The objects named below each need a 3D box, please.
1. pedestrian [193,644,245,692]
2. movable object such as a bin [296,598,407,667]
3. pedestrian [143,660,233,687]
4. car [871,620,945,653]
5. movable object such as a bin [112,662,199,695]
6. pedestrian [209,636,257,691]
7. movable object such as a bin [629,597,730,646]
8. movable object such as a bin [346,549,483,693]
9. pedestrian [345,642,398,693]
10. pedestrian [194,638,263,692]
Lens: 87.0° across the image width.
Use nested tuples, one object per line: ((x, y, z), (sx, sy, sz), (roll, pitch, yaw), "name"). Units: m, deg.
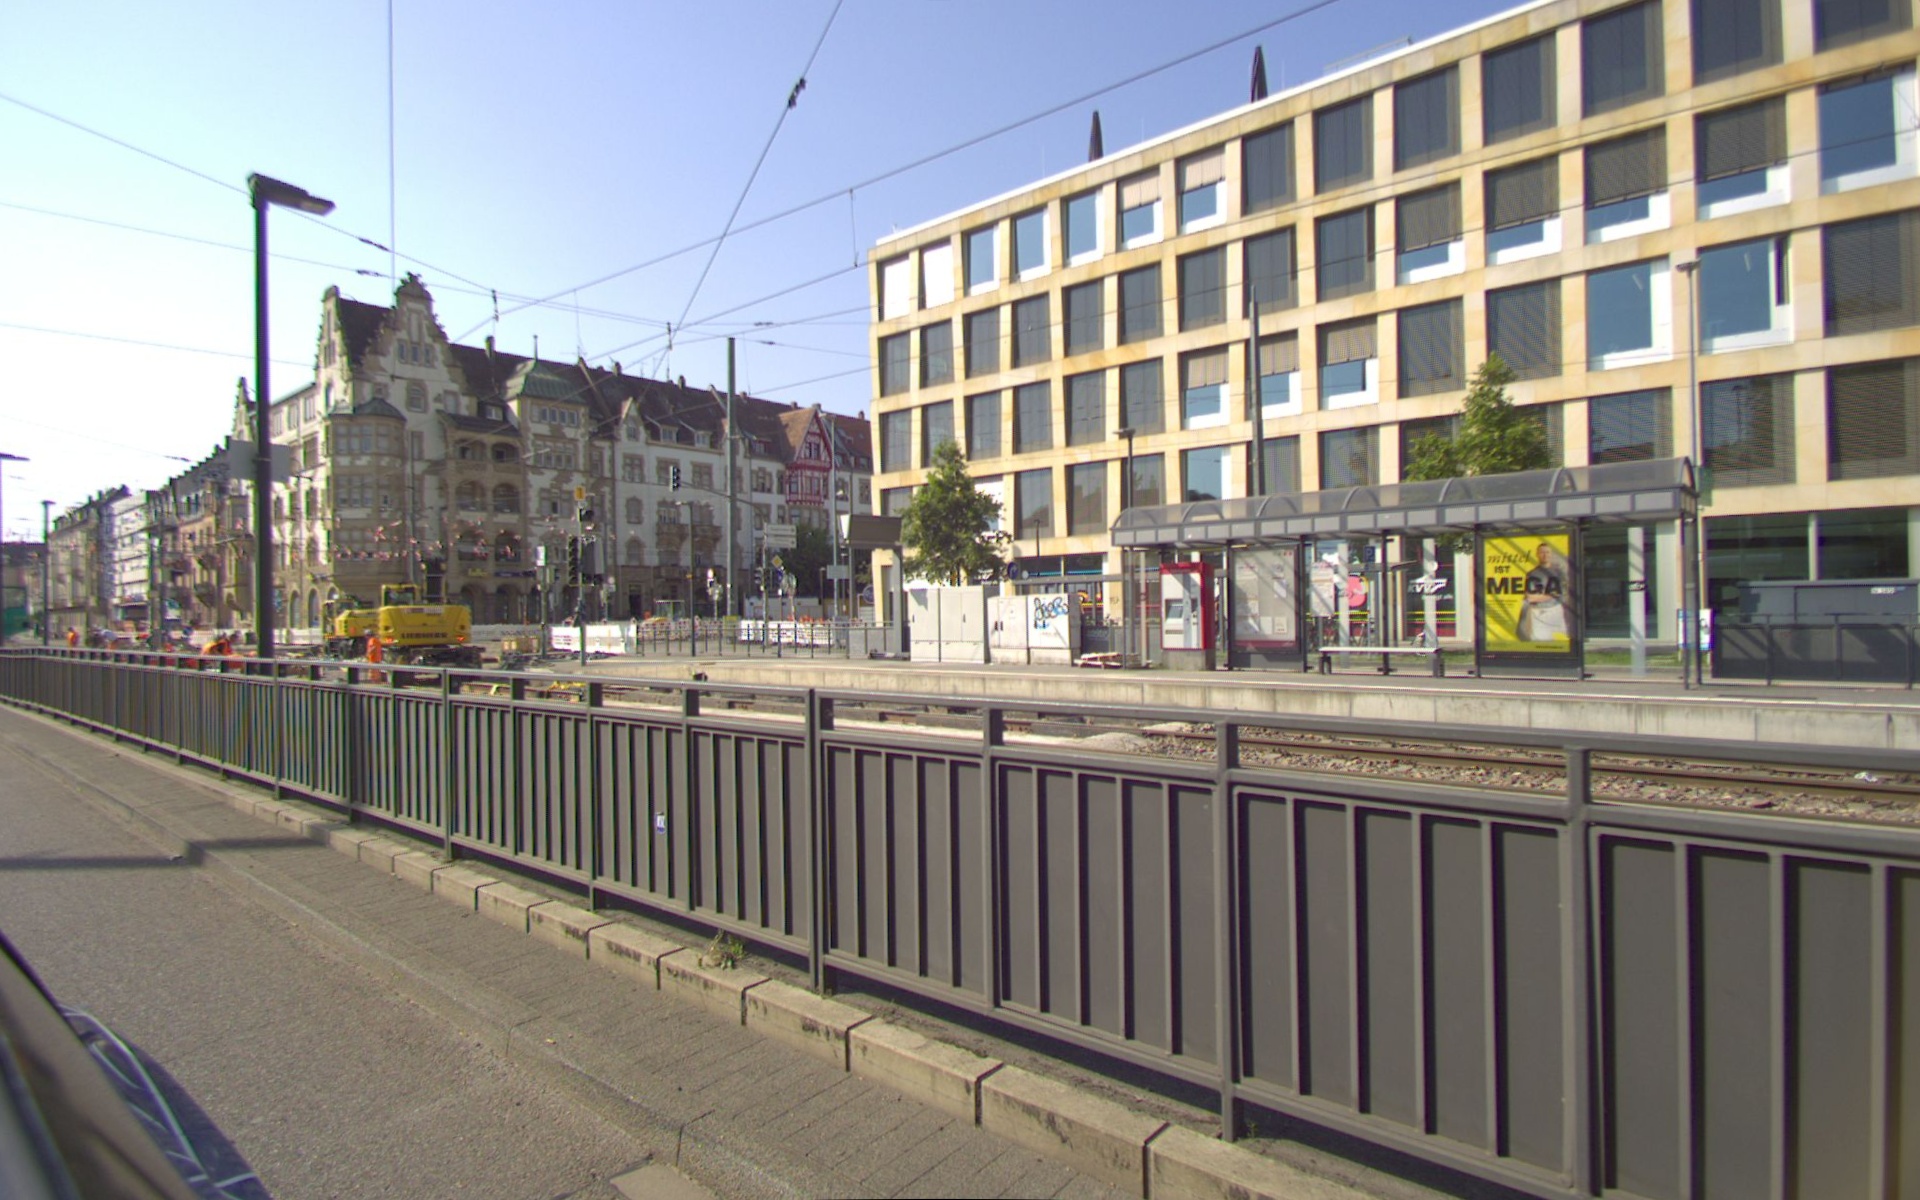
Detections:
((-19.666, 1.788, 26.885), (0.968, 1.199, 0.801), (-1, -2, -25), "pedestrian")
((-32.063, 1.725, 53.134), (8.345, 3.355, 2.815), (-2, -2, 43), "movable object such as a bin")
((-21.420, 2.028, 28.097), (0.913, 0.641, 1.880), (-3, -2, 44), "pedestrian")
((-3.333, 2.345, 65.794), (1.815, 2.046, 5.051), (-3, -2, 39), "car")
((-18.704, 1.820, 23.560), (1.484, 0.657, 0.703), (-1, -2, -28), "movable object such as a bin")
((-18.026, 1.565, 25.097), (0.825, 1.316, 0.801), (-1, -2, -25), "pedestrian")
((-16.656, 1.257, 60.268), (2.134, 2.760, 5.555), (-2, -1, 40), "movable object such as a bin")
((-17.623, 0.724, 33.290), (3.454, 4.044, 9.070), (-1, -2, -25), "movable object such as a bin")
((-15.739, 1.789, 27.047), (0.983, 1.316, 1.003), (-3, -2, 44), "pedestrian")
((-18.690, 1.645, 25.894), (1.293, 1.316, 0.801), (-1, -2, -25), "pedestrian")
